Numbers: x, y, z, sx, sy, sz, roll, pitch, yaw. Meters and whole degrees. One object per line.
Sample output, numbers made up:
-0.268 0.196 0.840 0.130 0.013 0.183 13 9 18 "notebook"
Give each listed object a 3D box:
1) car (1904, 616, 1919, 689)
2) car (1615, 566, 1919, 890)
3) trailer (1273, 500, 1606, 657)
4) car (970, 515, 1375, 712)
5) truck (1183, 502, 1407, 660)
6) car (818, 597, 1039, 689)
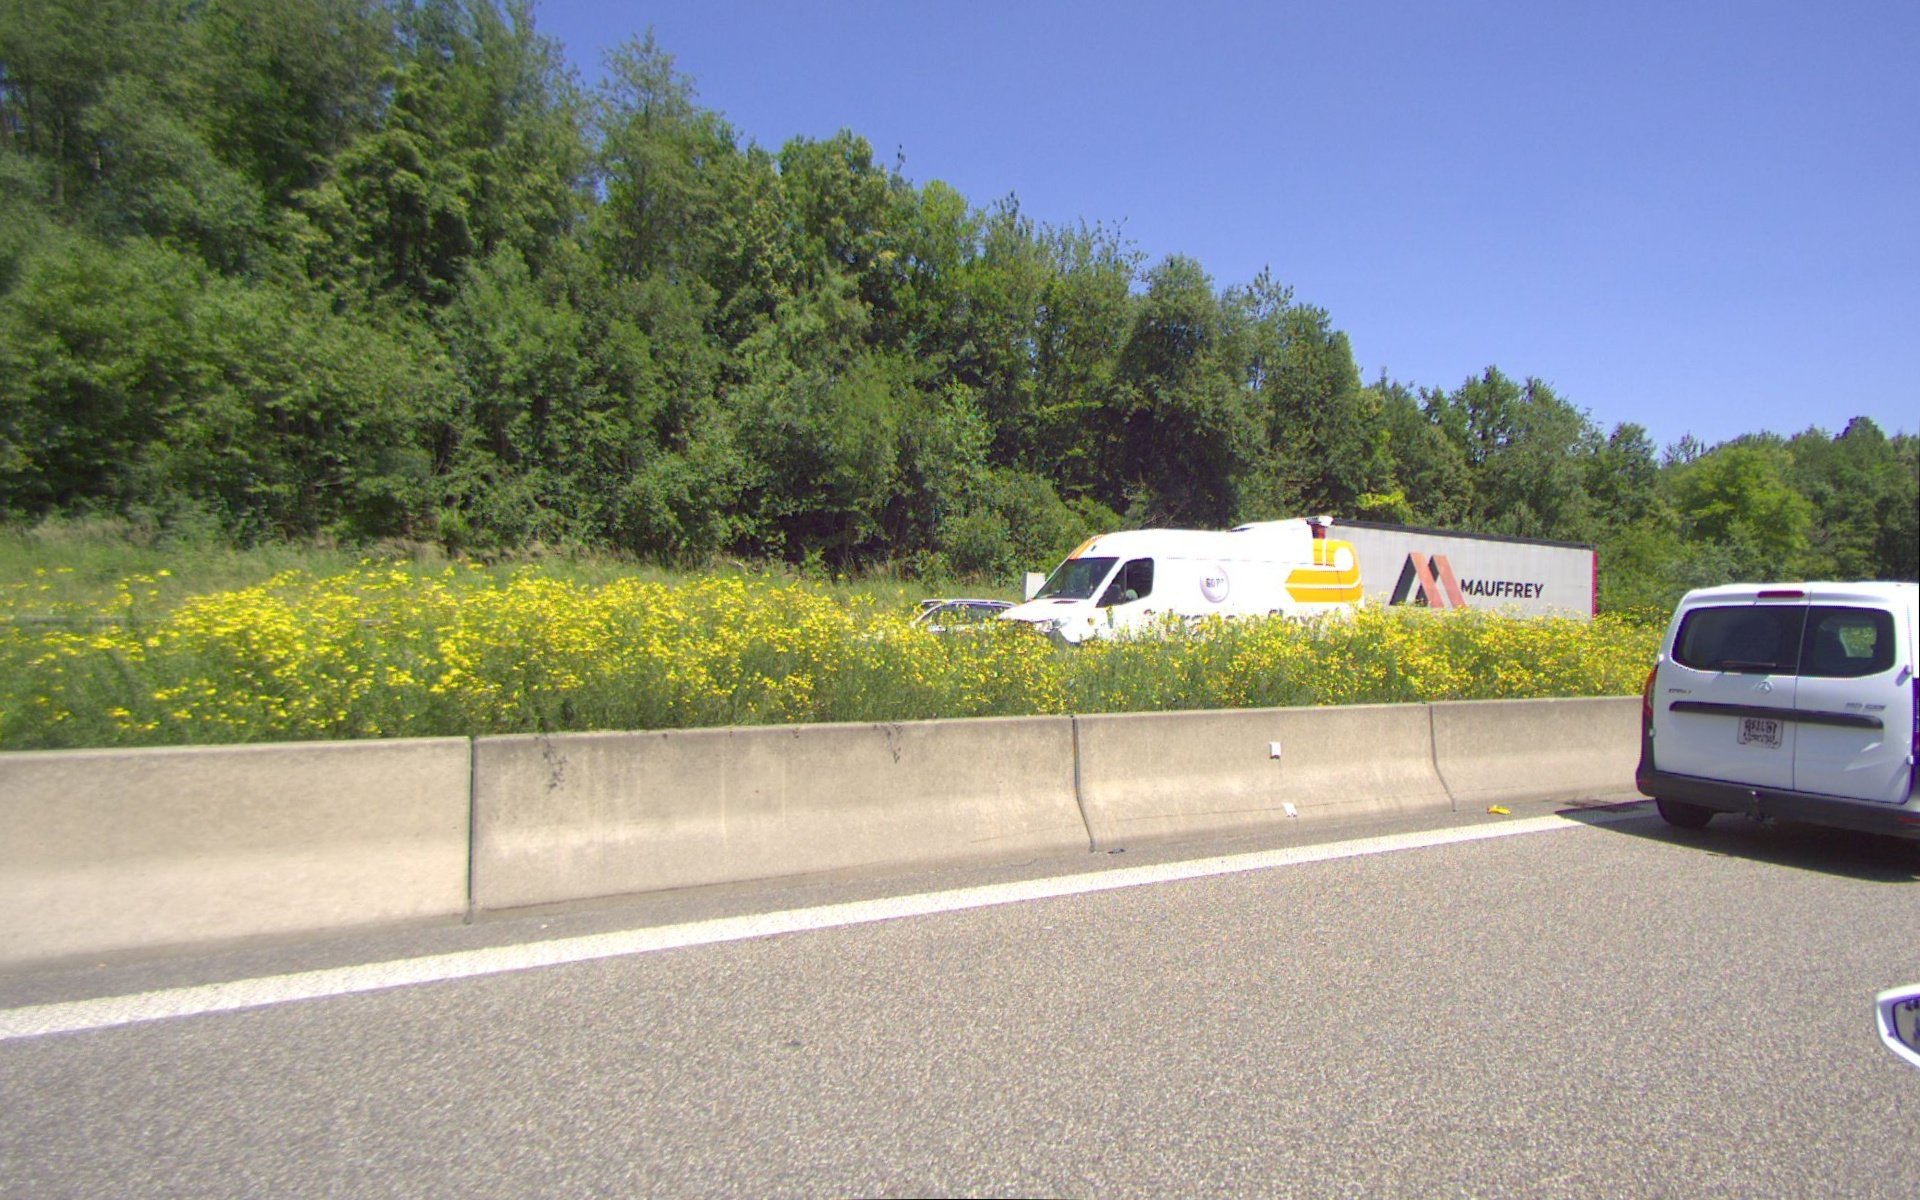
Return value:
28.844 1.553 28.388 3.950 2.040 1.986 3 -1 -28 "car"
7.117 0.794 7.507 4.617 1.837 1.757 2 -1 -29 "car"
16.155 -0.440 33.206 12.906 4.287 2.913 3 -1 -29 "trailer"
3.899 0.285 17.623 7.369 2.934 2.060 2 -1 -29 "car"
9.962 -0.438 29.813 6.014 4.161 2.952 3 -1 -29 "truck"
-0.574 0.796 19.128 3.883 1.595 1.677 2 -1 -30 "car"
